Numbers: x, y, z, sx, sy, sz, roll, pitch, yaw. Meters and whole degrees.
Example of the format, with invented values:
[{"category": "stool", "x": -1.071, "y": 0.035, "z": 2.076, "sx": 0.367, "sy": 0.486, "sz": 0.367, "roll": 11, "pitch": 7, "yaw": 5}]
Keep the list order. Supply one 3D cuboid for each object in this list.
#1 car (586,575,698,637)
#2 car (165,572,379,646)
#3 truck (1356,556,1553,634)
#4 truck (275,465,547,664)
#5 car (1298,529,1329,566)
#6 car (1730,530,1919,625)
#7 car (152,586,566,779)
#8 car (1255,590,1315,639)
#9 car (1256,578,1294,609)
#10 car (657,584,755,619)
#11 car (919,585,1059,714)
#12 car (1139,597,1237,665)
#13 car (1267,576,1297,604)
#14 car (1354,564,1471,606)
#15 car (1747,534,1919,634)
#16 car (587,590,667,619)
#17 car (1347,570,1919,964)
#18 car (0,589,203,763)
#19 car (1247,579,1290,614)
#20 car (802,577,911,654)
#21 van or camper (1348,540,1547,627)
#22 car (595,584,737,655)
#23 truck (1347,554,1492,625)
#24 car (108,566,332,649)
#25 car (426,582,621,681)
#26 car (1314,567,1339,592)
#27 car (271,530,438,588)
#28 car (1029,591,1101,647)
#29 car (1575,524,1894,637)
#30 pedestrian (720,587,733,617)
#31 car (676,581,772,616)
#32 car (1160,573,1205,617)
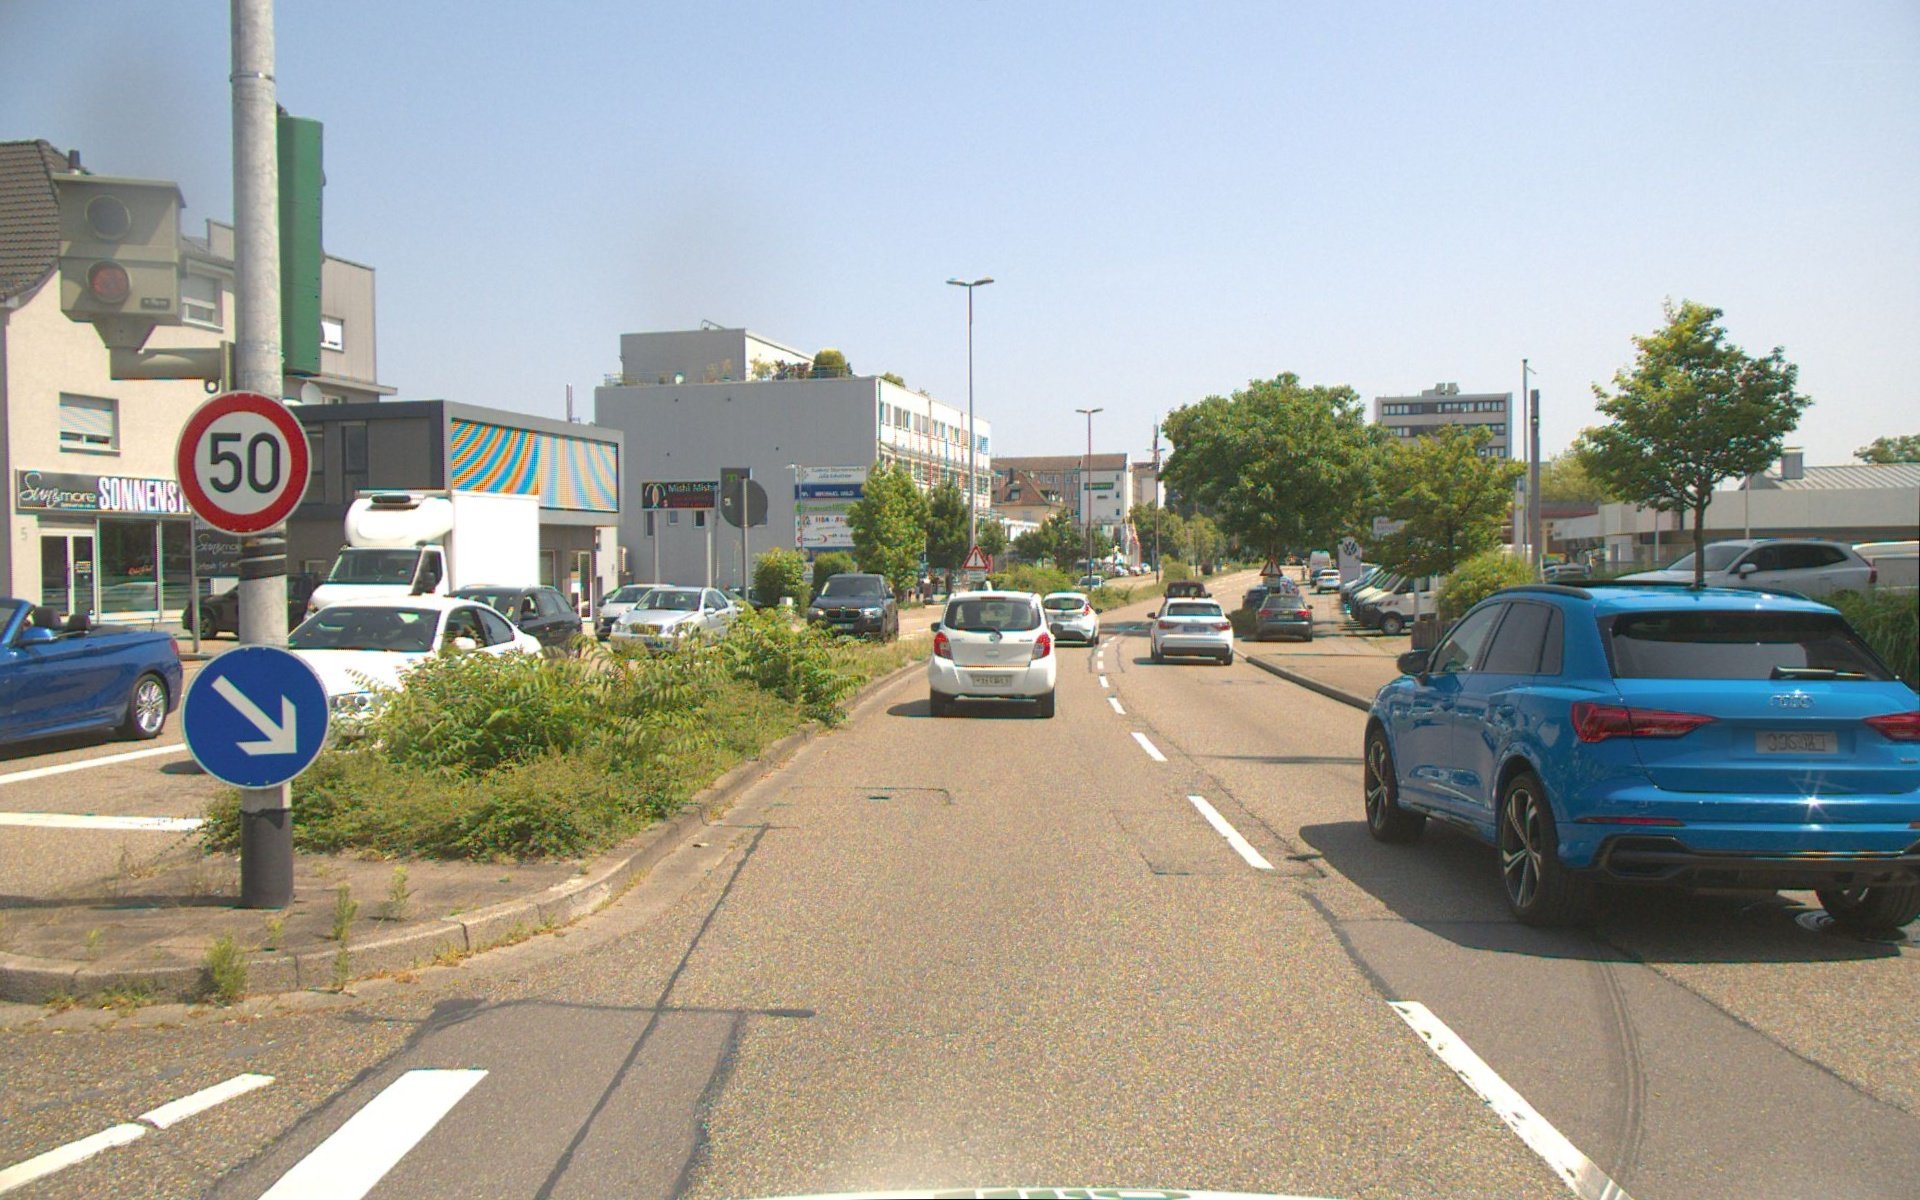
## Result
[{"category": "car", "x": -8.587, "y": 0.164, "z": 44.974, "sx": 1.857, "sy": 1.594, "sz": 4.200, "roll": 0, "pitch": 0, "yaw": 6}, {"category": "car", "x": -17.032, "y": 0.200, "z": 41.056, "sx": 4.509, "sy": 1.522, "sz": 1.753, "roll": 4, "pitch": 1, "yaw": 4}, {"category": "truck", "x": 16.387, "y": -0.178, "z": 55.157, "sx": 6.112, "sy": 2.377, "sz": 2.371, "roll": -2, "pitch": 1, "yaw": 14}, {"category": "truck", "x": -10.566, "y": -0.608, "z": 32.682, "sx": 2.216, "sy": 3.477, "sz": 7.044, "roll": 1, "pitch": 0, "yaw": 7}, {"category": "car", "x": 31.365, "y": -4.626, "z": 147.002, "sx": 2.088, "sy": 2.887, "sz": 7.316, "roll": -7, "pitch": 0, "yaw": 10}, {"category": "car", "x": 24.993, "y": -0.629, "z": 47.175, "sx": 5.169, "sy": 2.581, "sz": 2.039, "roll": 1, "pitch": -1, "yaw": 14}, {"category": "car", "x": -5.166, "y": 0.614, "z": 15.023, "sx": 1.824, "sy": 1.456, "sz": 4.746, "roll": 1, "pitch": 0, "yaw": 3}, {"category": "car", "x": 10.169, "y": 0.421, "z": 51.937, "sx": 1.759, "sy": 1.430, "sz": 4.324, "roll": 1, "pitch": 1, "yaw": 10}, {"category": "car", "x": 16.475, "y": -0.377, "z": 86.634, "sx": 1.815, "sy": 1.507, "sz": 5.161, "roll": 0, "pitch": 1, "yaw": 9}, {"category": "car", "x": -11.015, "y": 0.062, "z": 71.728, "sx": 3.902, "sy": 1.484, "sz": 1.577, "roll": -1, "pitch": -1, "yaw": 7}, {"category": "car", "x": 0.352, "y": 0.609, "z": 21.675, "sx": 1.677, "sy": 1.537, "sz": 3.247, "roll": 1, "pitch": 0, "yaw": 0}, {"category": "car", "x": 5.030, "y": 0.644, "z": 36.880, "sx": 1.633, "sy": 1.423, "sz": 3.793, "roll": 0, "pitch": 0, "yaw": 0}, {"category": "car", "x": 19.026, "y": -0.622, "z": 97.851, "sx": 1.677, "sy": 1.575, "sz": 4.795, "roll": -1, "pitch": 1, "yaw": 10}, {"category": "car", "x": 23.576, "y": -0.802, "z": 86.280, "sx": 5.769, "sy": 2.049, "sz": 2.261, "roll": 1, "pitch": 1, "yaw": 16}, {"category": "car", "x": 24.327, "y": -0.403, "z": 44.037, "sx": 5.760, "sy": 2.572, "sz": 2.121, "roll": 1, "pitch": 0, "yaw": 15}, {"category": "car", "x": -18.292, "y": 0.238, "z": 90.892, "sx": 3.887, "sy": 1.493, "sz": 1.966, "roll": -1, "pitch": 1, "yaw": 7}, {"category": "car", "x": 3.576, "y": 0.688, "z": 9.050, "sx": 1.874, "sy": 1.625, "sz": 4.395, "roll": 0, "pitch": 0, "yaw": 0}, {"category": "car", "x": -8.521, "y": 0.611, "z": 14.218, "sx": 1.824, "sy": 1.390, "sz": 4.348, "roll": 0, "pitch": -1, "yaw": 3}, {"category": "car", "x": 15.320, "y": -0.199, "z": 81.961, "sx": 1.919, "sy": 1.556, "sz": 5.166, "roll": -3, "pitch": 1, "yaw": 12}, {"category": "car", "x": -2.513, "y": 0.389, "z": 41.388, "sx": 1.868, "sy": 1.781, "sz": 4.763, "roll": 1, "pitch": 0, "yaw": 7}, {"category": "van or camper", "x": 17.460, "y": -0.582, "z": 59.577, "sx": 6.651, "sy": 2.948, "sz": 2.278, "roll": -1, "pitch": 1, "yaw": 12}, {"category": "car", "x": -6.088, "y": 0.390, "z": 34.756, "sx": 1.857, "sy": 1.384, "sz": 4.200, "roll": 0, "pitch": 0, "yaw": 6}, {"category": "truck", "x": 17.304, "y": -0.415, "z": 62.521, "sx": 5.135, "sy": 2.478, "sz": 2.113, "roll": -2, "pitch": 1, "yaw": 14}, {"category": "car", "x": -17.364, "y": 0.154, "z": 38.887, "sx": 4.508, "sy": 1.655, "sz": 1.855, "roll": 3, "pitch": 1, "yaw": 12}, {"category": "car", "x": -7.018, "y": 0.454, "z": 27.083, "sx": 1.764, "sy": 1.464, "sz": 4.578, "roll": 1, "pitch": 0, "yaw": 3}, {"category": "car", "x": 25.657, "y": -1.432, "z": 115.795, "sx": 1.631, "sy": 1.623, "sz": 4.618, "roll": -1, "pitch": 1, "yaw": 12}, {"category": "car", "x": -17.235, "y": -1.146, "z": 47.182, "sx": 3.970, "sy": 1.548, "sz": 2.002, "roll": -1, "pitch": 0, "yaw": 9}, {"category": "car", "x": 2.908, "y": 0.498, "z": 46.502, "sx": 1.792, "sy": 1.475, "sz": 4.000, "roll": 1, "pitch": 0, "yaw": 1}, {"category": "car", "x": 12.995, "y": -0.296, "z": 27.835, "sx": 4.643, "sy": 1.743, "sz": 1.993, "roll": 1, "pitch": 0, "yaw": -13}, {"category": "pedestrian", "x": -13.116, "y": 0.104, "z": 92.922, "sx": 0.534, "sy": 1.686, "sz": 0.625, "roll": 1, "pitch": -1, "yaw": 11}, {"category": "car", "x": -10.610, "y": -0.066, "z": 74.457, "sx": 3.912, "sy": 1.395, "sz": 1.670, "roll": -2, "pitch": 2, "yaw": 15}, {"category": "car", "x": 9.411, "y": -0.222, "z": 70.141, "sx": 1.757, "sy": 1.759, "sz": 3.975, "roll": 1, "pitch": 0, "yaw": 6}]
